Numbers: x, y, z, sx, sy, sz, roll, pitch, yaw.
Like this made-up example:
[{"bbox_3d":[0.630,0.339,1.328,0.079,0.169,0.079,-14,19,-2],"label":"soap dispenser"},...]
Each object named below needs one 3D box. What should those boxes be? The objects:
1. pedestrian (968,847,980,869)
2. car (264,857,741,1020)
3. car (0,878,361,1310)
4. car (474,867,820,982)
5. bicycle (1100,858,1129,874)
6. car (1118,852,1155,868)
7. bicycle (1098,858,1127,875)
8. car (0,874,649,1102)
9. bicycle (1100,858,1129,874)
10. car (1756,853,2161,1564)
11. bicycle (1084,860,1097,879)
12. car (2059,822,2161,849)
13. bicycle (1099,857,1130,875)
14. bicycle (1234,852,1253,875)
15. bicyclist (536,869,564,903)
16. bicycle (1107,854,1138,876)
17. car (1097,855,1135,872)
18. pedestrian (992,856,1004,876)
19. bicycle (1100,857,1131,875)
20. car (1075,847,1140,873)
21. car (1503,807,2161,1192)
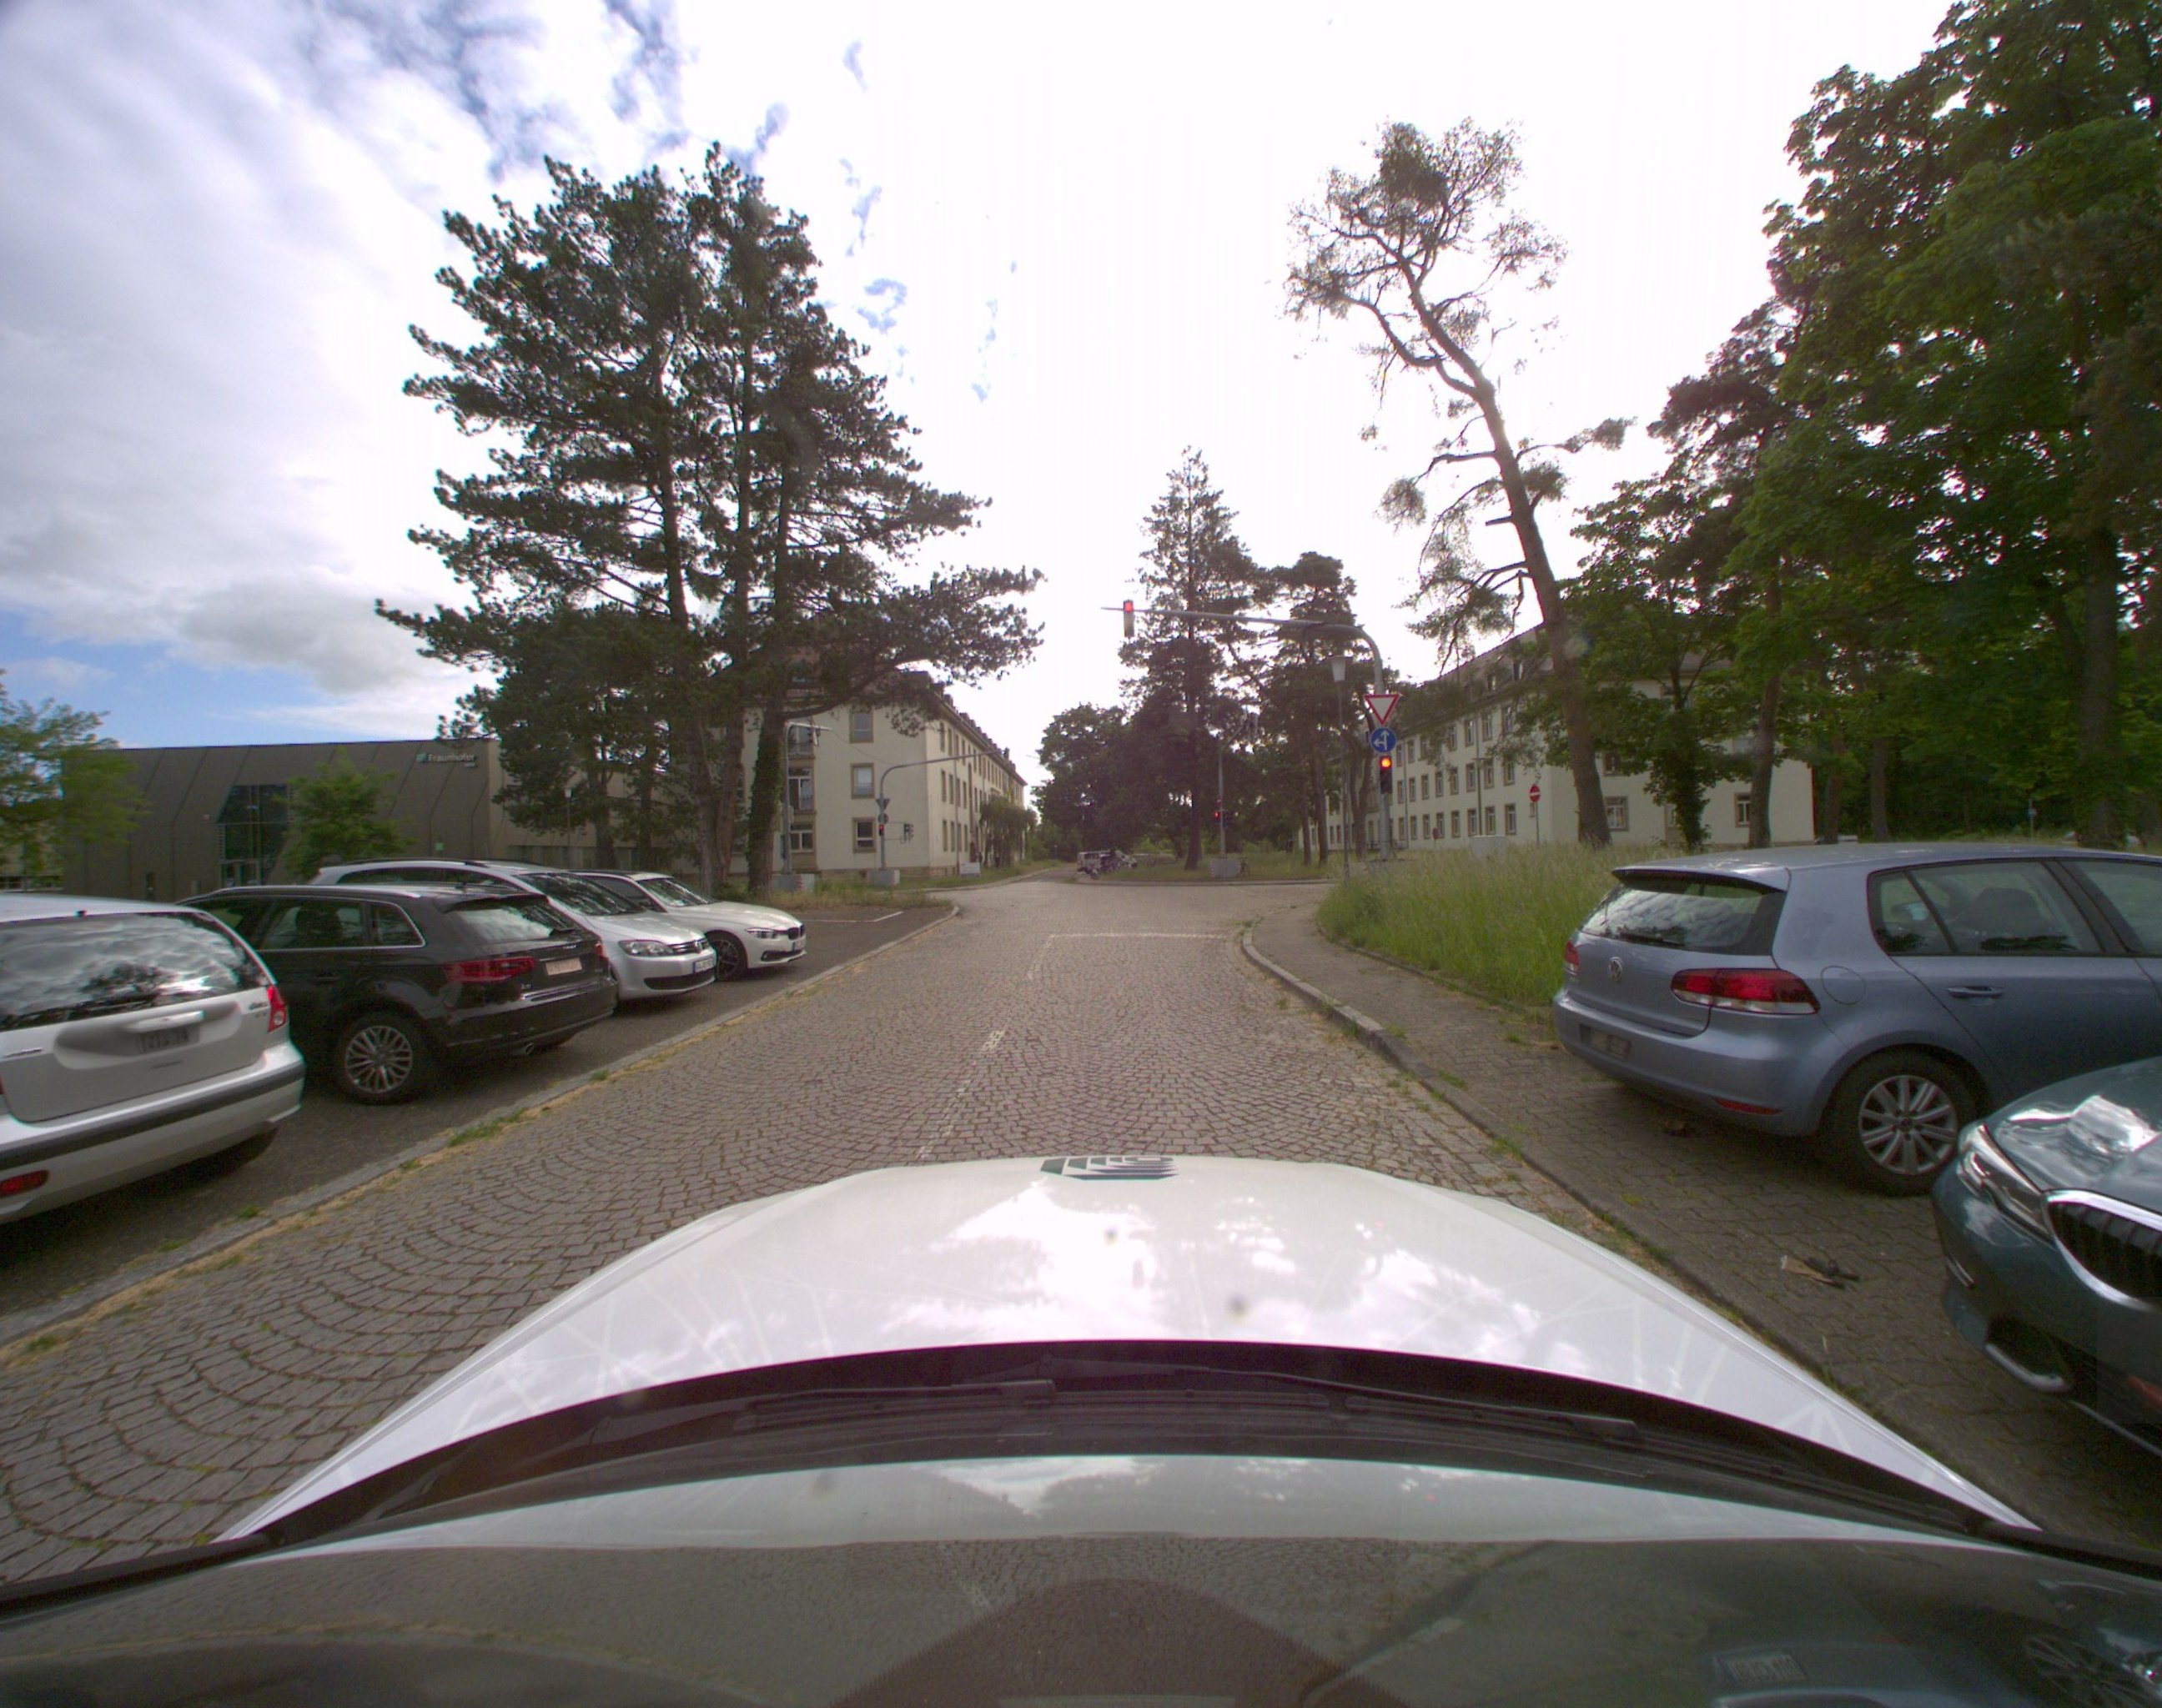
[{"bbox_3d":[-9.054,0.348,68.965,0.779,1.837,0.734,-2,0,-30],"label":"pedestrian"},{"bbox_3d":[-6.065,0.851,8.910,3.937,1.563,1.649,1,0,-2],"label":"car"},{"bbox_3d":[-5.721,0.866,3.522,3.693,1.479,1.581,1,0,-2],"label":"car"},{"bbox_3d":[-5.920,0.929,11.446,3.934,1.421,1.650,1,0,0],"label":"car"},{"bbox_3d":[2.315,0.830,56.568,1.967,1.069,0.582,-2,0,-29],"label":"bicycle"},{"bbox_3d":[5.083,0.555,75.042,3.223,1.416,1.724,-2,0,-2],"label":"car"},{"bbox_3d":[2.133,0.833,55.219,1.967,1.069,0.582,-2,0,-29],"label":"bicycle"},{"bbox_3d":[-5.566,0.907,6.124,3.736,1.428,1.581,1,0,-2],"label":"car"},{"bbox_3d":[2.369,0.816,57.922,1.964,1.069,0.583,-2,0,-24],"label":"bicycle"},{"bbox_3d":[4.564,0.644,1.768,4.668,1.416,1.870,-4,0,-2],"label":"car"},{"bbox_3d":[0.585,0.929,49.921,0.602,1.132,1.958,-2,0,-4],"label":"bicycle"},{"bbox_3d":[58.364,-1.015,46.073,3.930,1.421,1.652,1,0,3],"label":"car"},{"bbox_3d":[2.206,0.806,53.735,1.952,1.117,0.587,-2,0,-6],"label":"bicycle"},{"bbox_3d":[8.157,0.464,40.926,0.584,1.106,1.962,-2,0,1],"label":"bicycle"},{"bbox_3d":[-22.730,1.374,34.873,0.746,1.410,0.605,-2,0,1],"label":"bicyclist"},{"bbox_3d":[2.761,0.709,54.560,1.952,1.384,0.587,-2,0,-6],"label":"bicycle"},{"bbox_3d":[2.915,0.778,67.736,3.001,1.268,1.533,-2,0,-5],"label":"car"},{"bbox_3d":[-6.955,0.981,68.133,0.768,1.618,0.743,-2,0,12],"label":"pedestrian"},{"bbox_3d":[2.255,0.781,53.101,1.952,1.132,0.587,-2,0,-6],"label":"bicycle"},{"bbox_3d":[2.271,0.523,71.191,5.358,1.925,2.019,-3,0,-8],"label":"car"},{"bbox_3d":[4.600,0.577,4.218,3.911,1.477,1.643,-4,0,2],"label":"car"}]
